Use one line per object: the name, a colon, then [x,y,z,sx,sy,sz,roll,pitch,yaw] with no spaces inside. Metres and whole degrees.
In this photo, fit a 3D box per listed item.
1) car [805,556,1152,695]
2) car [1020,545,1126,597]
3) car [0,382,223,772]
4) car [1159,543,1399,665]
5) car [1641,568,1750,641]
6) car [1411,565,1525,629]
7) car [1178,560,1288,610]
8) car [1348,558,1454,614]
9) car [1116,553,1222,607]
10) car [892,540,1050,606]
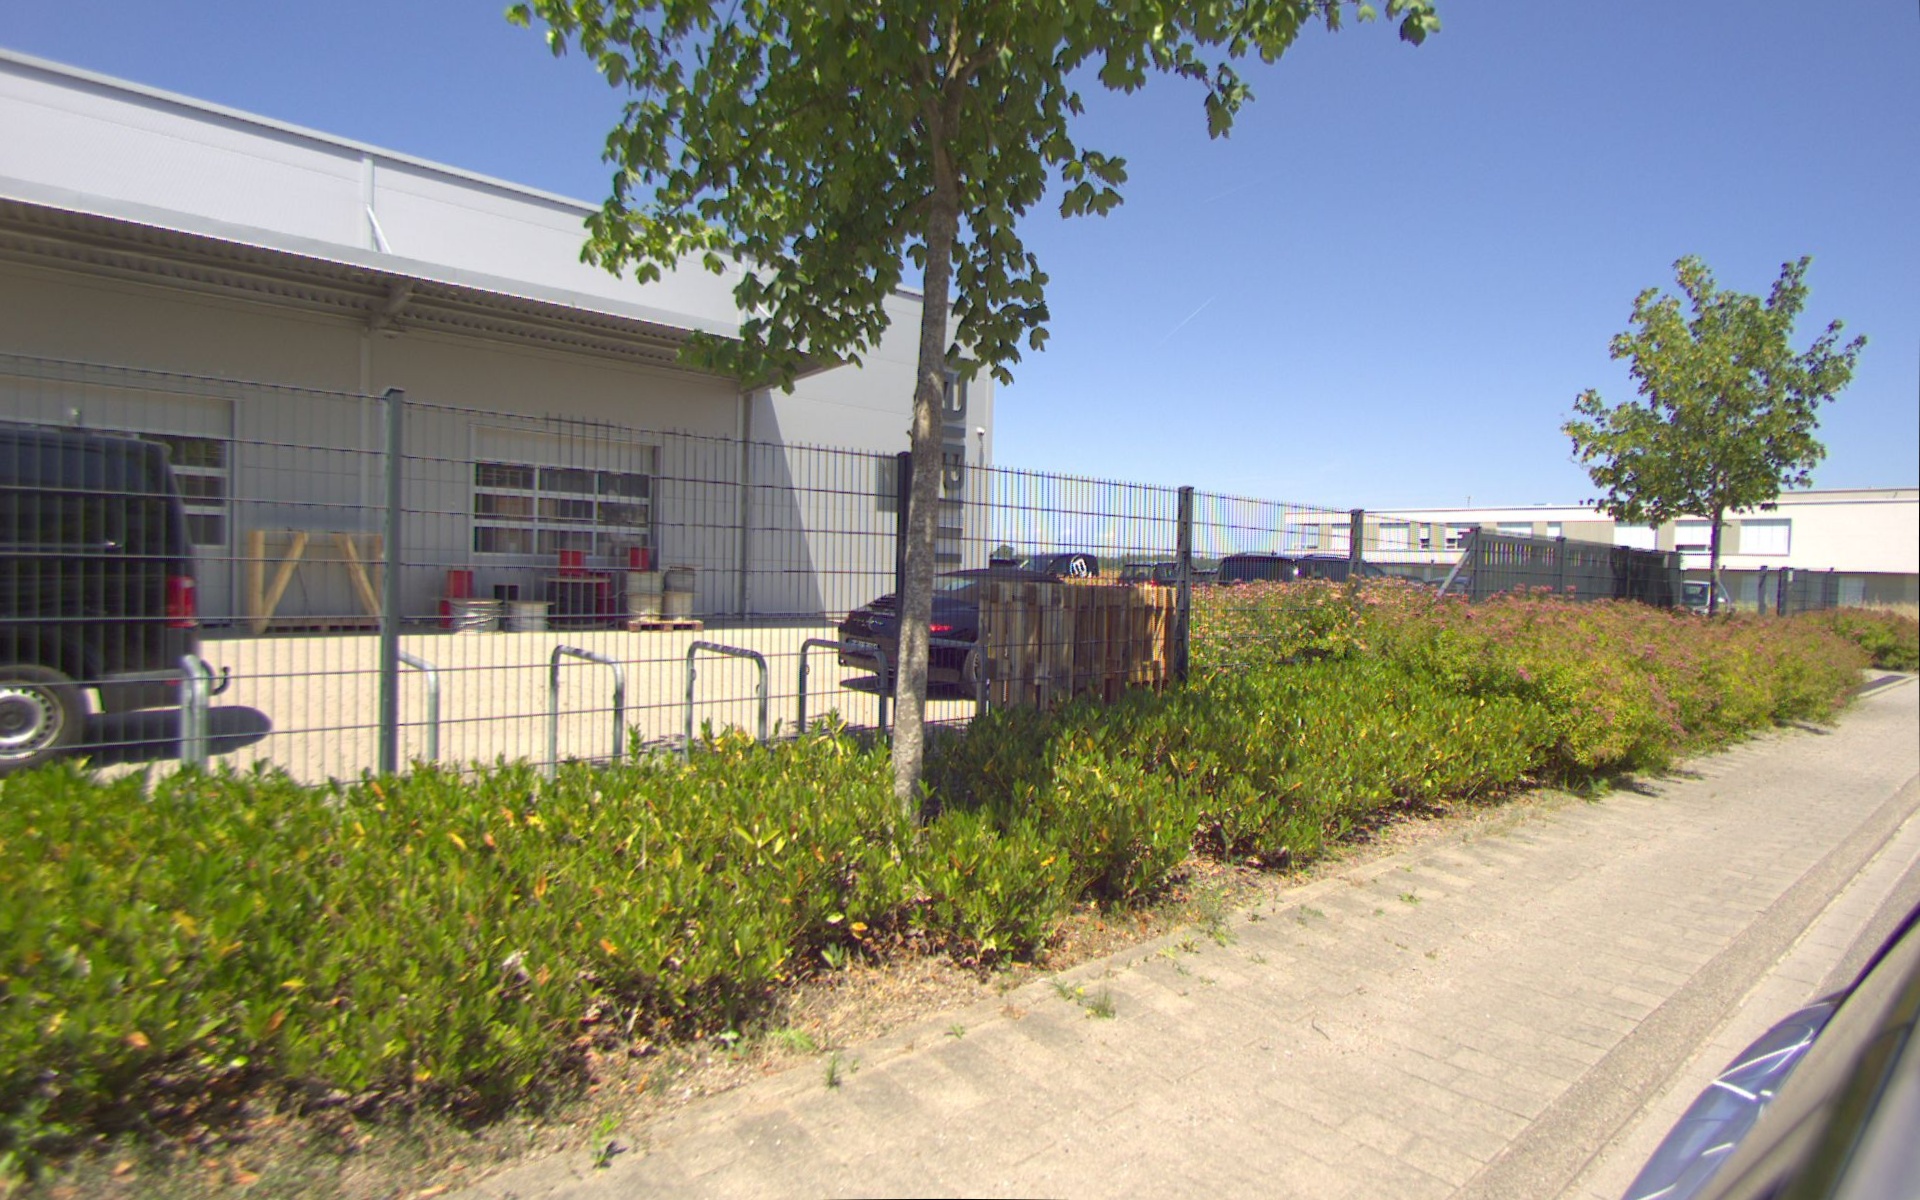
car: [0.313,0.200,11.472,3.811,1.287,1.622,-1,3,-41]
car: [4.375,-1.123,38.895,4.056,1.869,1.751,-1,3,-42]
car: [-6.636,-0.177,5.472,4.151,2.112,1.881,0,4,-41]
car: [4.860,0.047,15.262,3.513,1.571,1.814,1,3,-41]
car: [17.393,0.066,23.920,2.615,1.593,1.470,-1,3,-41]
car: [13.304,-0.112,26.443,3.275,1.514,1.517,-1,3,-42]
car: [8.609,-0.483,31.753,3.719,1.448,1.517,-1,3,-42]
car: [12.347,-0.418,28.263,3.275,1.430,1.460,-1,3,-42]
car: [7.012,-0.682,33.814,3.719,1.653,1.517,-1,3,-42]
car: [0.204,-0.710,25.316,1.675,1.396,3.996,3,2,-41]
